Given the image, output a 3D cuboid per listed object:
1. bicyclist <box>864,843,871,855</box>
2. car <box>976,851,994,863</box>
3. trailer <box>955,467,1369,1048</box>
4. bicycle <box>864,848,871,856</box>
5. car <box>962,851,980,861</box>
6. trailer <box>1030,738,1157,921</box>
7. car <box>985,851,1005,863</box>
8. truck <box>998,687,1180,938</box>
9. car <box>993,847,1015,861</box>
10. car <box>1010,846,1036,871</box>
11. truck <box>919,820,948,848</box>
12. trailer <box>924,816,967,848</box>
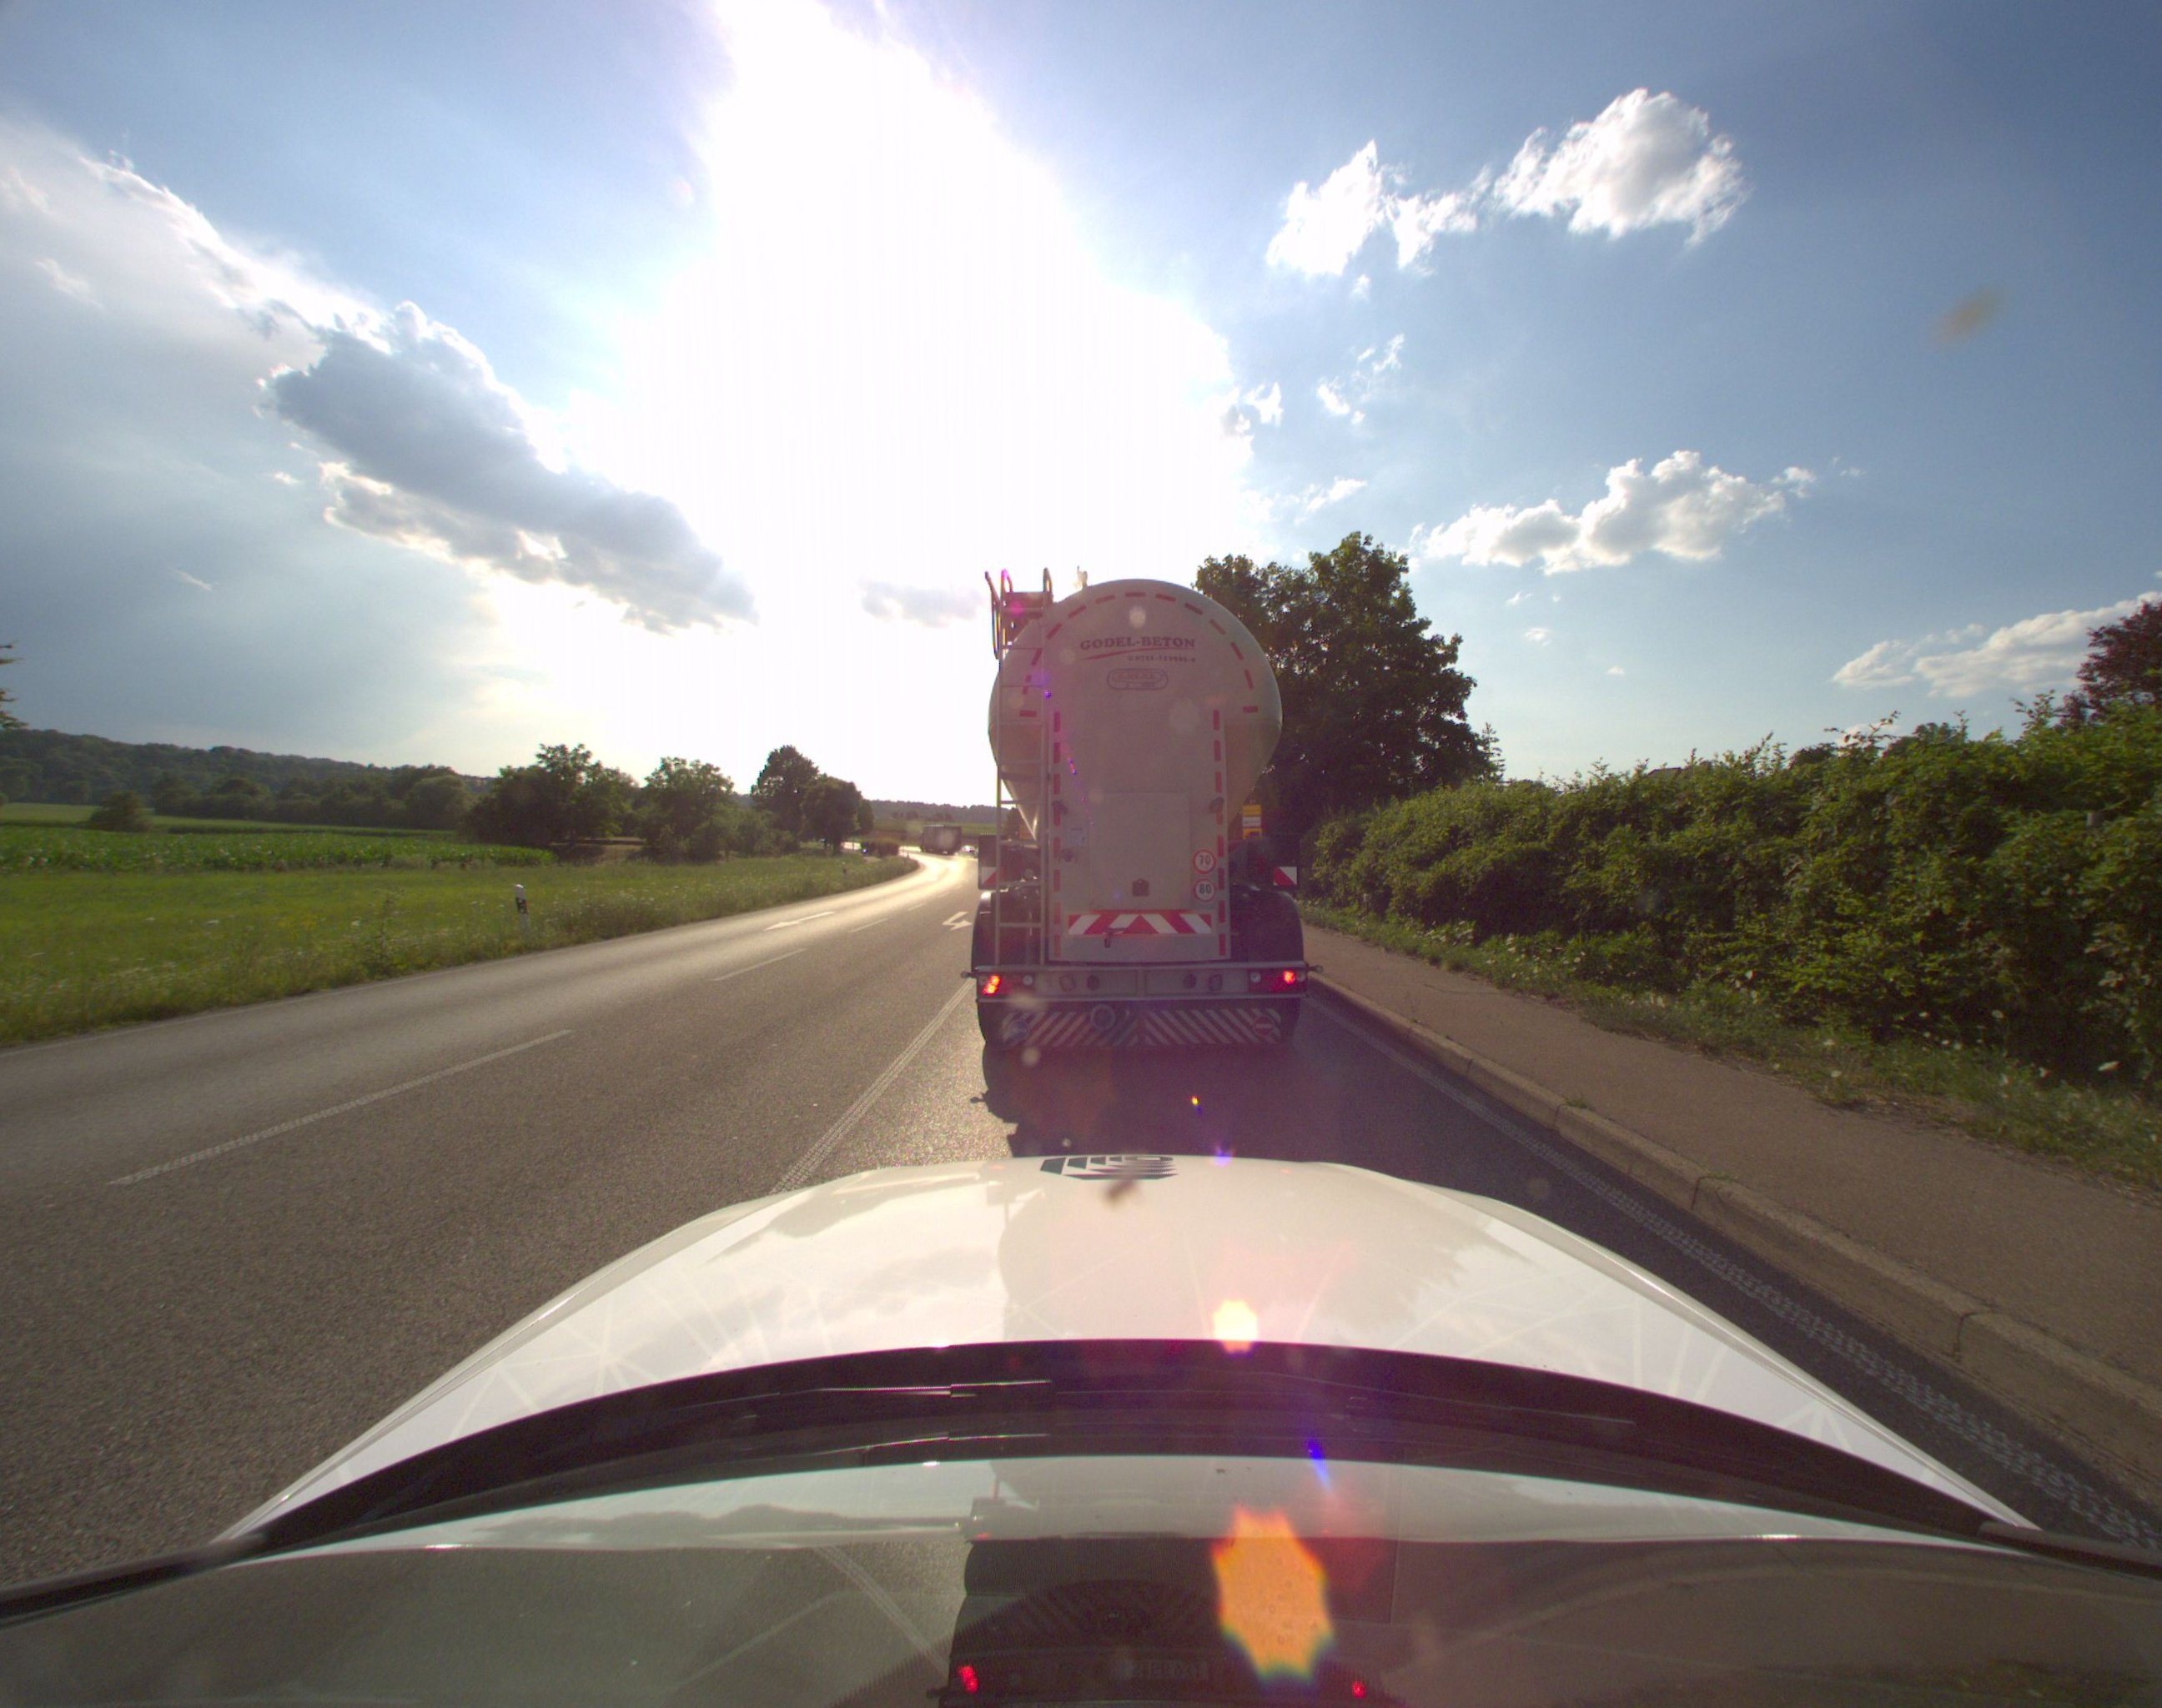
[{"bbox_3d":[-26.604,-0.635,101.460,0.634,1.419,0.689,2,0,-7],"label":"bicyclist"},{"bbox_3d":[-11.355,0.337,96.278,1.583,1.341,3.407,1,0,-16],"label":"car"},{"bbox_3d":[0.296,-0.679,10.677,2.903,4.006,9.917,0,0,-4],"label":"trailer"},{"bbox_3d":[-26.632,-0.252,101.573,0.634,1.074,1.667,2,0,-6],"label":"bicycle"},{"bbox_3d":[-13.911,0.247,102.621,1.773,1.205,3.407,-2,1,-16],"label":"car"},{"bbox_3d":[0.560,-0.607,26.400,2.943,4.315,14.182,1,0,2],"label":"trailer"},{"bbox_3d":[-9.306,0.314,88.025,1.583,1.341,3.407,1,0,-16],"label":"car"},{"bbox_3d":[0.023,-0.677,15.113,2.904,4.006,4.054,0,0,-4],"label":"truck"},{"bbox_3d":[-7.754,-0.010,81.841,1.583,1.341,3.407,1,0,-16],"label":"car"},{"bbox_3d":[-4.855,0.325,67.471,1.861,2.013,3.708,0,0,-9],"label":"car"},{"bbox_3d":[-23.256,-3.111,128.185,3.388,4.350,5.665,1,0,-21],"label":"truck"},{"bbox_3d":[-20.213,-3.088,120.303,3.388,4.350,14.192,1,0,-21],"label":"trailer"}]
